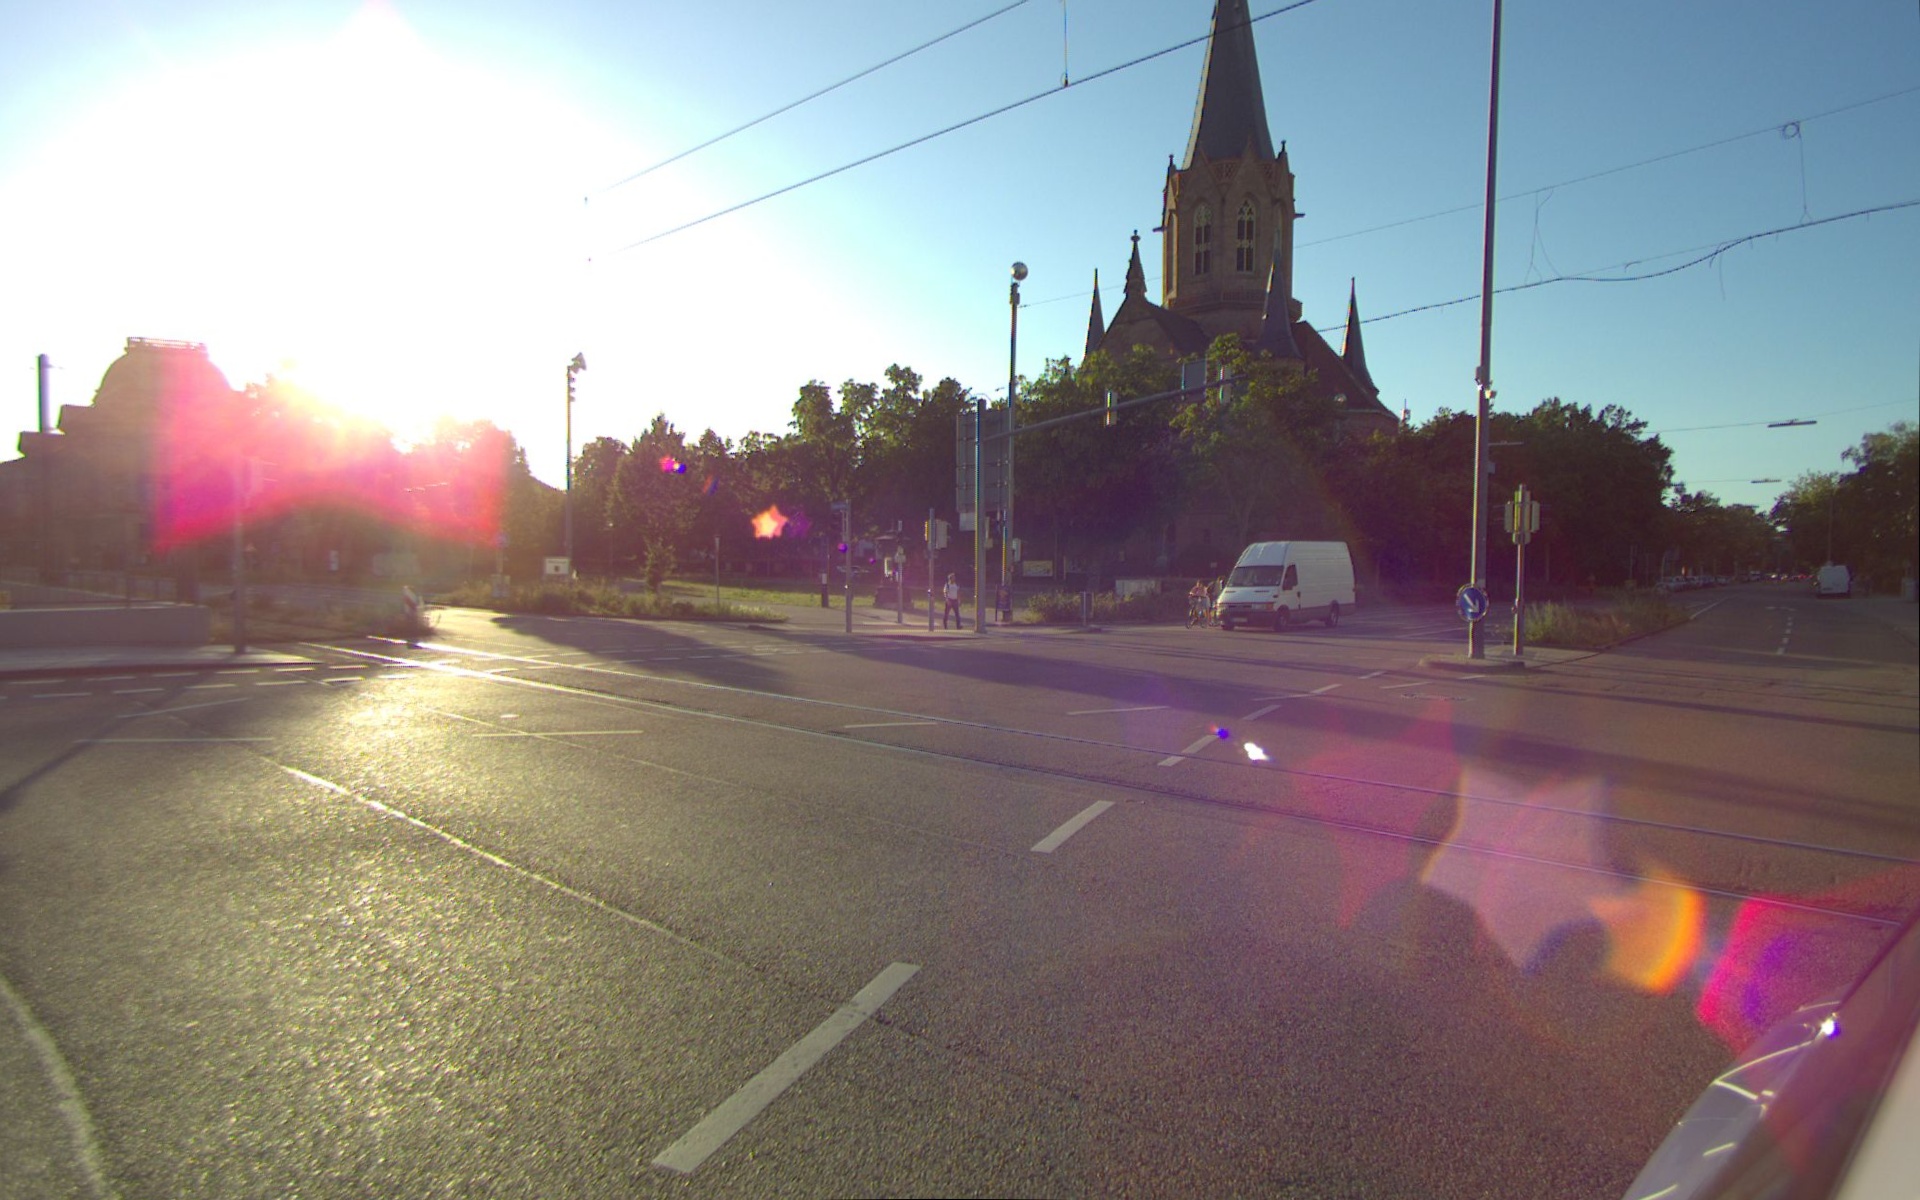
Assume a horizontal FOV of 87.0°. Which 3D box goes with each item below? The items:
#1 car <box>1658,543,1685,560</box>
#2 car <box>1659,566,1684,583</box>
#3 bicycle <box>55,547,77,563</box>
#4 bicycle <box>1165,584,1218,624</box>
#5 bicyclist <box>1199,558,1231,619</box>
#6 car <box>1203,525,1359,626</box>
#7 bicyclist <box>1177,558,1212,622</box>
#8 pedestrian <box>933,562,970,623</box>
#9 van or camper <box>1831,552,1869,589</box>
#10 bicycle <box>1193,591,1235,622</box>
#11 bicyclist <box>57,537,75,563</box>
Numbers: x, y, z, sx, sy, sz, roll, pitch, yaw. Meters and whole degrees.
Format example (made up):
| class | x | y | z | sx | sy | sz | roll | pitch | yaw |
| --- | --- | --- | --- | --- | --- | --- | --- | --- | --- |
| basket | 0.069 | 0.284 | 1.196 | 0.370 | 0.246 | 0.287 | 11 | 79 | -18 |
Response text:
| class | x | y | z | sx | sy | sz | roll | pitch | yaw |
| --- | --- | --- | --- | --- | --- | --- | --- | --- | --- |
| car | 71.881 | -4.877 | 102.253 | 1.985 | 1.678 | 3.955 | 2 | 2 | 32 |
| car | 69.461 | -2.511 | 98.783 | 1.895 | 1.638 | 3.951 | 2 | 3 | 35 |
| bicycle | -78.550 | -3.958 | 88.933 | 2.819 | 1.416 | 1.086 | 2 | 2 | 40 |
| bicycle | 7.463 | 0.117 | 32.594 | 0.732 | 1.190 | 1.942 | 3 | 3 | 45 |
| bicyclist | 8.690 | -0.404 | 34.493 | 0.665 | 2.038 | 0.861 | 2 | 3 | 44 |
| car | 10.305 | -0.792 | 32.079 | 2.085 | 2.862 | 6.929 | 1 | 2 | 42 |
| bicyclist | 7.589 | -0.343 | 32.707 | 0.887 | 2.038 | 0.720 | -1 | 3 | -45 |
| pedestrian | -0.265 | -0.233 | 30.810 | 0.819 | 1.825 | 0.811 | -1 | 2 | -35 |
| van or camper | 71.255 | -2.409 | 81.066 | 2.147 | 2.877 | 4.339 | 2 | 3 | 41 |
| bicycle | 8.652 | 0.210 | 34.481 | 0.672 | 0.993 | 1.595 | 3 | 3 | 44 |
| bicyclist | -78.596 | -4.406 | 88.977 | 0.982 | 2.304 | 1.070 | 2 | 2 | 40 |
